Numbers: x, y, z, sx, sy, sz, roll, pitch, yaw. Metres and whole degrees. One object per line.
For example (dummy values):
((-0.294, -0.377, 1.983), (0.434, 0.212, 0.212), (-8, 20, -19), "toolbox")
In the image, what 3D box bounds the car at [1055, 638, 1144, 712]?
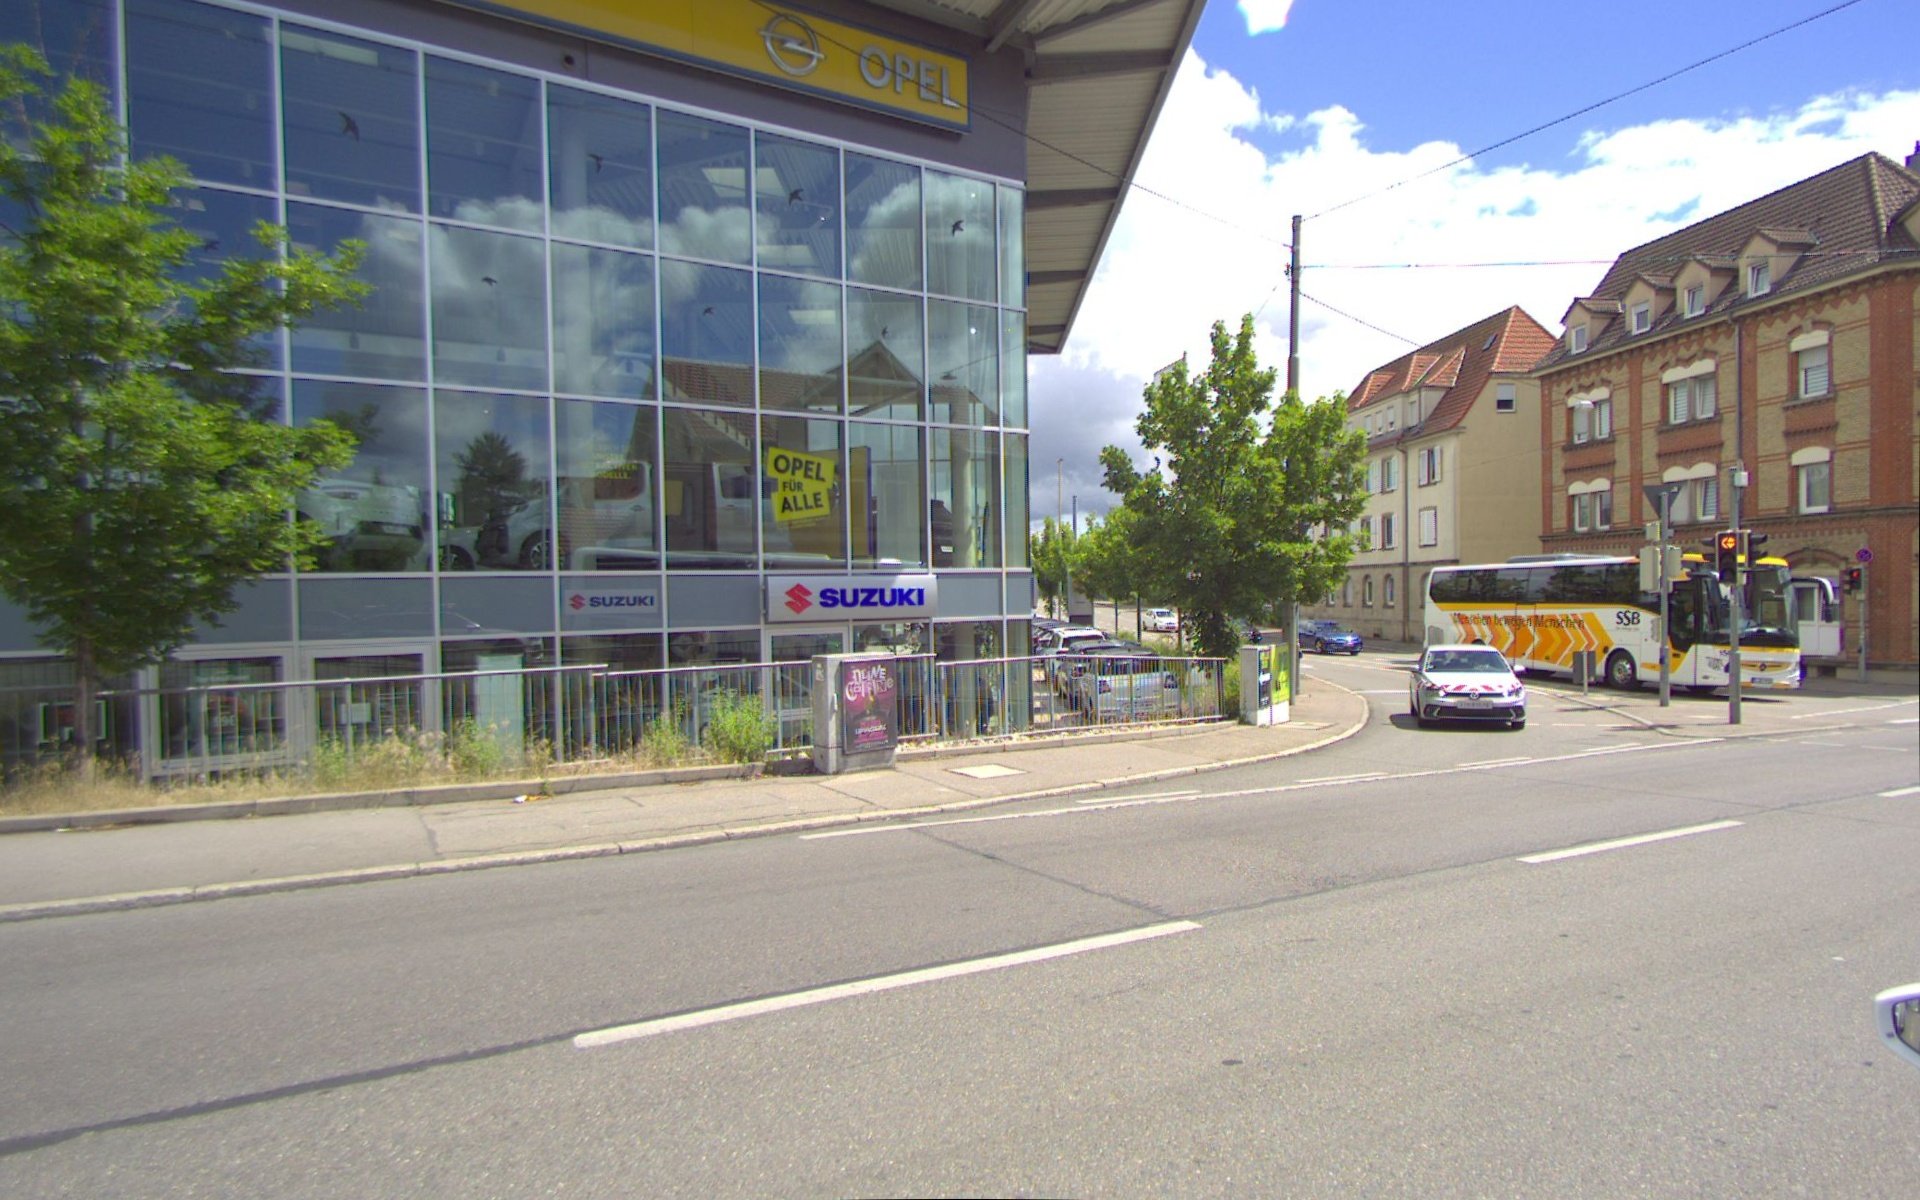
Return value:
((3.335, 1.765, 24.596), (1.584, 1.547, 3.499), (-1, 0, -2), "car")

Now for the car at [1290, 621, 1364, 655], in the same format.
((16.617, 1.703, 45.639), (1.717, 1.428, 3.999), (1, -1, -3), "car")

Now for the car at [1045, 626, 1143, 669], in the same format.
((4.971, 1.754, 37.475), (3.430, 1.497, 1.800), (1, -1, 1), "car")

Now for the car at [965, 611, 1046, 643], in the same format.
((2.367, 1.412, 52.795), (3.930, 1.574, 1.804), (1, -1, -12), "car")

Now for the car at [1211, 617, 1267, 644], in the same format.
((15.713, 1.682, 56.755), (1.874, 1.428, 3.999), (1, -1, -2), "car")

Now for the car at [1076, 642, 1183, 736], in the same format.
((3.352, 1.731, 20.389), (1.648, 1.582, 3.365), (-1, 0, 1), "car")

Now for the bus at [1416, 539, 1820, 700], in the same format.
((18.058, 0.519, 29.383), (2.719, 3.670, 12.253), (1, -1, -6), "bus")

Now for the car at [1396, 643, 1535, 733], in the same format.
((9.300, 1.566, 18.766), (1.847, 1.437, 3.621), (-1, -2, 19), "car")

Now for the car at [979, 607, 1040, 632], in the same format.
((3.305, 1.327, 67.559), (3.922, 1.574, 1.807), (1, -1, -1), "car")

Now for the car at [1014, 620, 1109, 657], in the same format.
((4.543, 1.711, 45.287), (3.925, 1.574, 1.806), (1, -1, -7), "car")

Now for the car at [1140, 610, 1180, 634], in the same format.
((13.813, 1.529, 69.567), (1.874, 1.574, 3.999), (1, -1, -2), "car")

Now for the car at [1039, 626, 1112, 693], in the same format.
((3.286, 1.667, 29.173), (1.620, 1.703, 3.499), (-1, 0, -2), "car")

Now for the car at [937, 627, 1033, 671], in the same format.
((0.885, 1.782, 37.012), (3.432, 1.467, 1.799), (-1, 0, -3), "car")

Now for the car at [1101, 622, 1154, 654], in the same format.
((8.136, 1.847, 49.122), (1.766, 1.467, 3.498), (1, -1, -5), "car")
